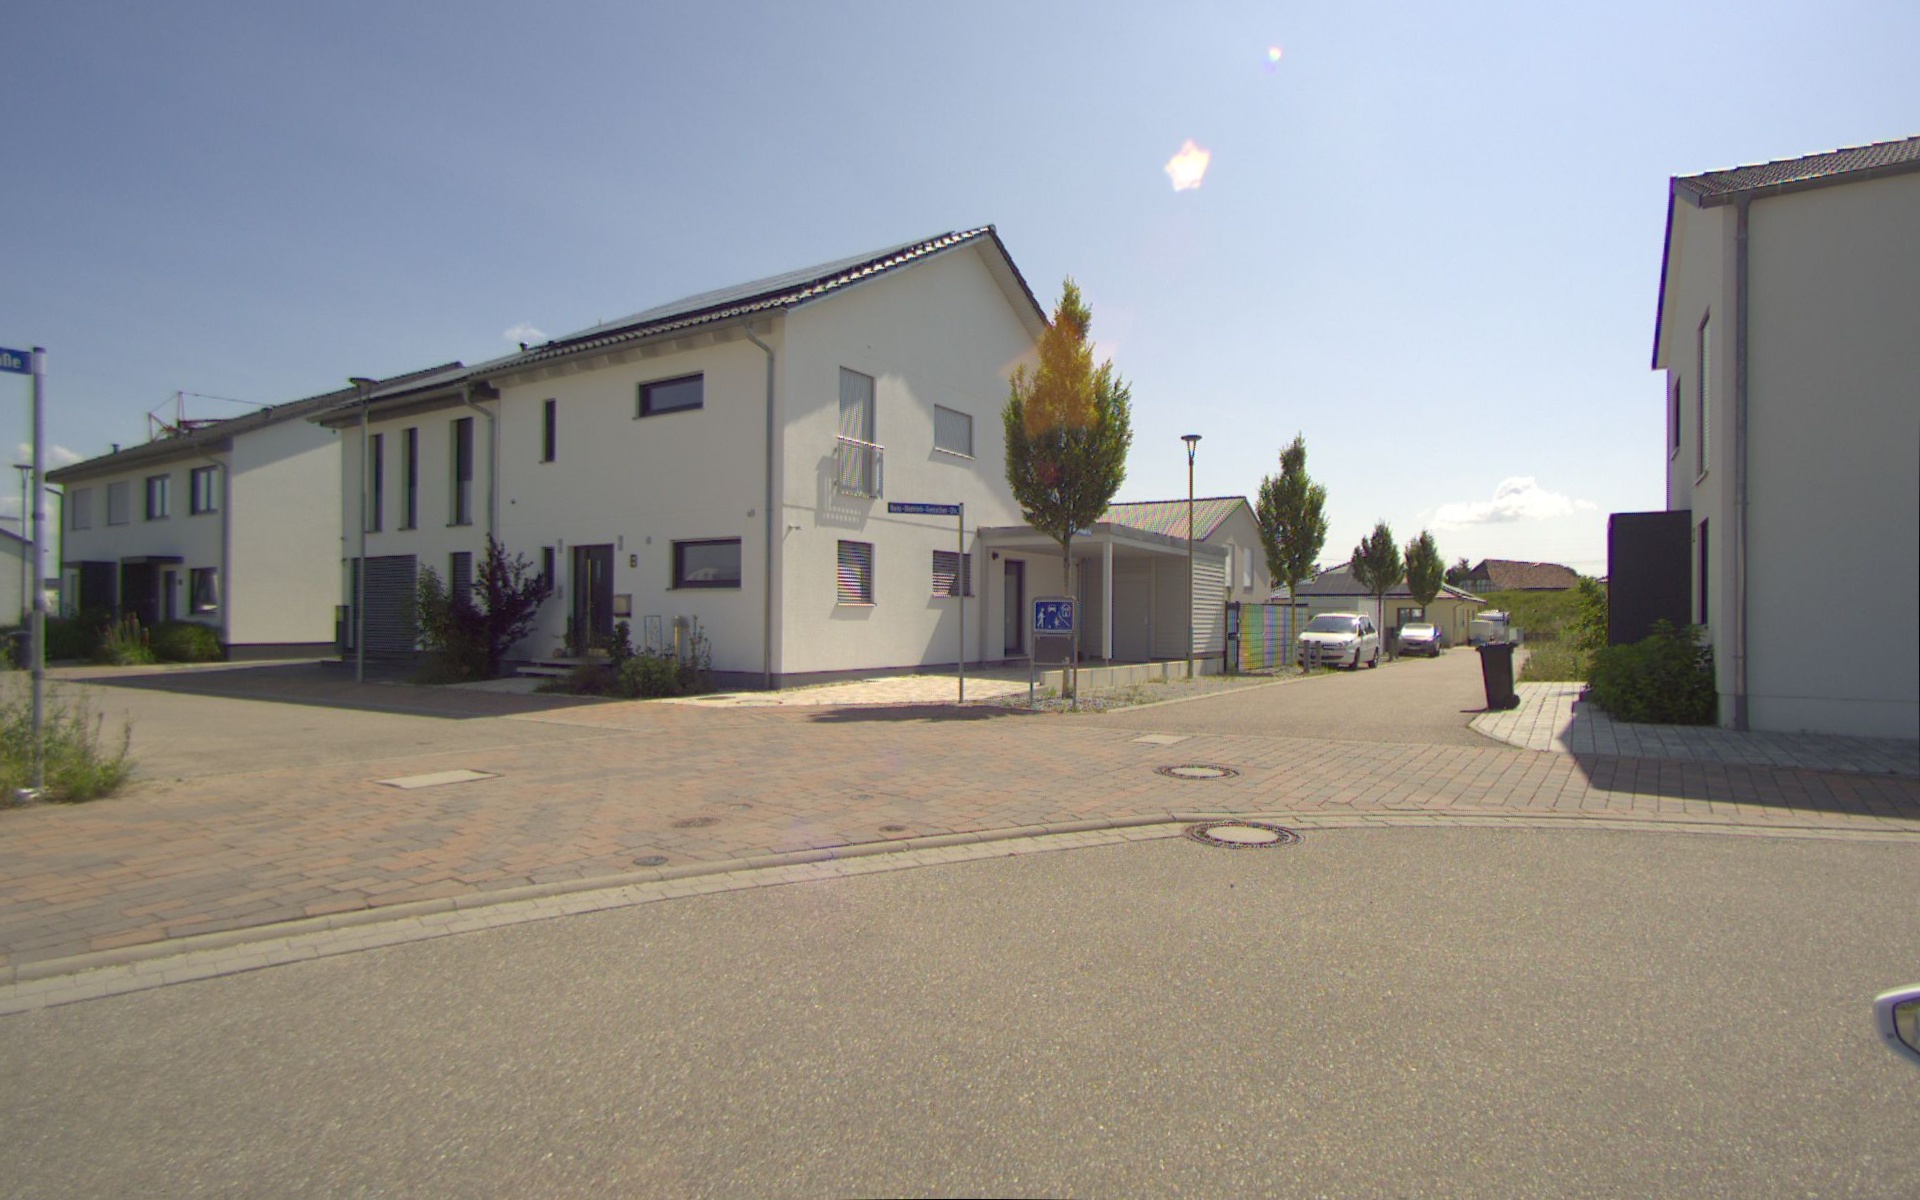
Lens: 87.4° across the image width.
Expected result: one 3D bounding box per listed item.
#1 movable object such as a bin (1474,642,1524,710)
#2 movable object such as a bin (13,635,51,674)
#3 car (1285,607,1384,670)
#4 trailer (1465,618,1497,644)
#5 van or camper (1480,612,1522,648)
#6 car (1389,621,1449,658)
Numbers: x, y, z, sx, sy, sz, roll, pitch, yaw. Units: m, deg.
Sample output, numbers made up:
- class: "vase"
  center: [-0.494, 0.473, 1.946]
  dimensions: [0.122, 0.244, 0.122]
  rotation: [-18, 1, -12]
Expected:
- class: "movable object such as a bin"
  center: [7.880, 1.104, 14.686]
  dimensions: [0.591, 0.961, 0.500]
  rotation: [-2, -2, 33]
- class: "movable object such as a bin"
  center: [-22.859, 1.335, 24.735]
  dimensions: [0.454, 0.933, 0.596]
  rotation: [-1, -1, 34]
- class: "car"
  center: [12.008, 1.220, 32.042]
  dimensions: [1.966, 1.813, 4.635]
  rotation: [2, -1, 33]
- class: "trailer"
  center: [34.286, 2.047, 66.067]
  dimensions: [1.604, 1.635, 2.555]
  rotation: [2, -1, 33]
- class: "van or camper"
  center: [38.771, 2.150, 71.916]
  dimensions: [2.232, 2.443, 4.832]
  rotation: [2, -1, 33]
- class: "car"
  center: [22.224, 1.877, 48.575]
  dimensions: [1.966, 1.635, 4.473]
  rotation: [2, -1, 33]
